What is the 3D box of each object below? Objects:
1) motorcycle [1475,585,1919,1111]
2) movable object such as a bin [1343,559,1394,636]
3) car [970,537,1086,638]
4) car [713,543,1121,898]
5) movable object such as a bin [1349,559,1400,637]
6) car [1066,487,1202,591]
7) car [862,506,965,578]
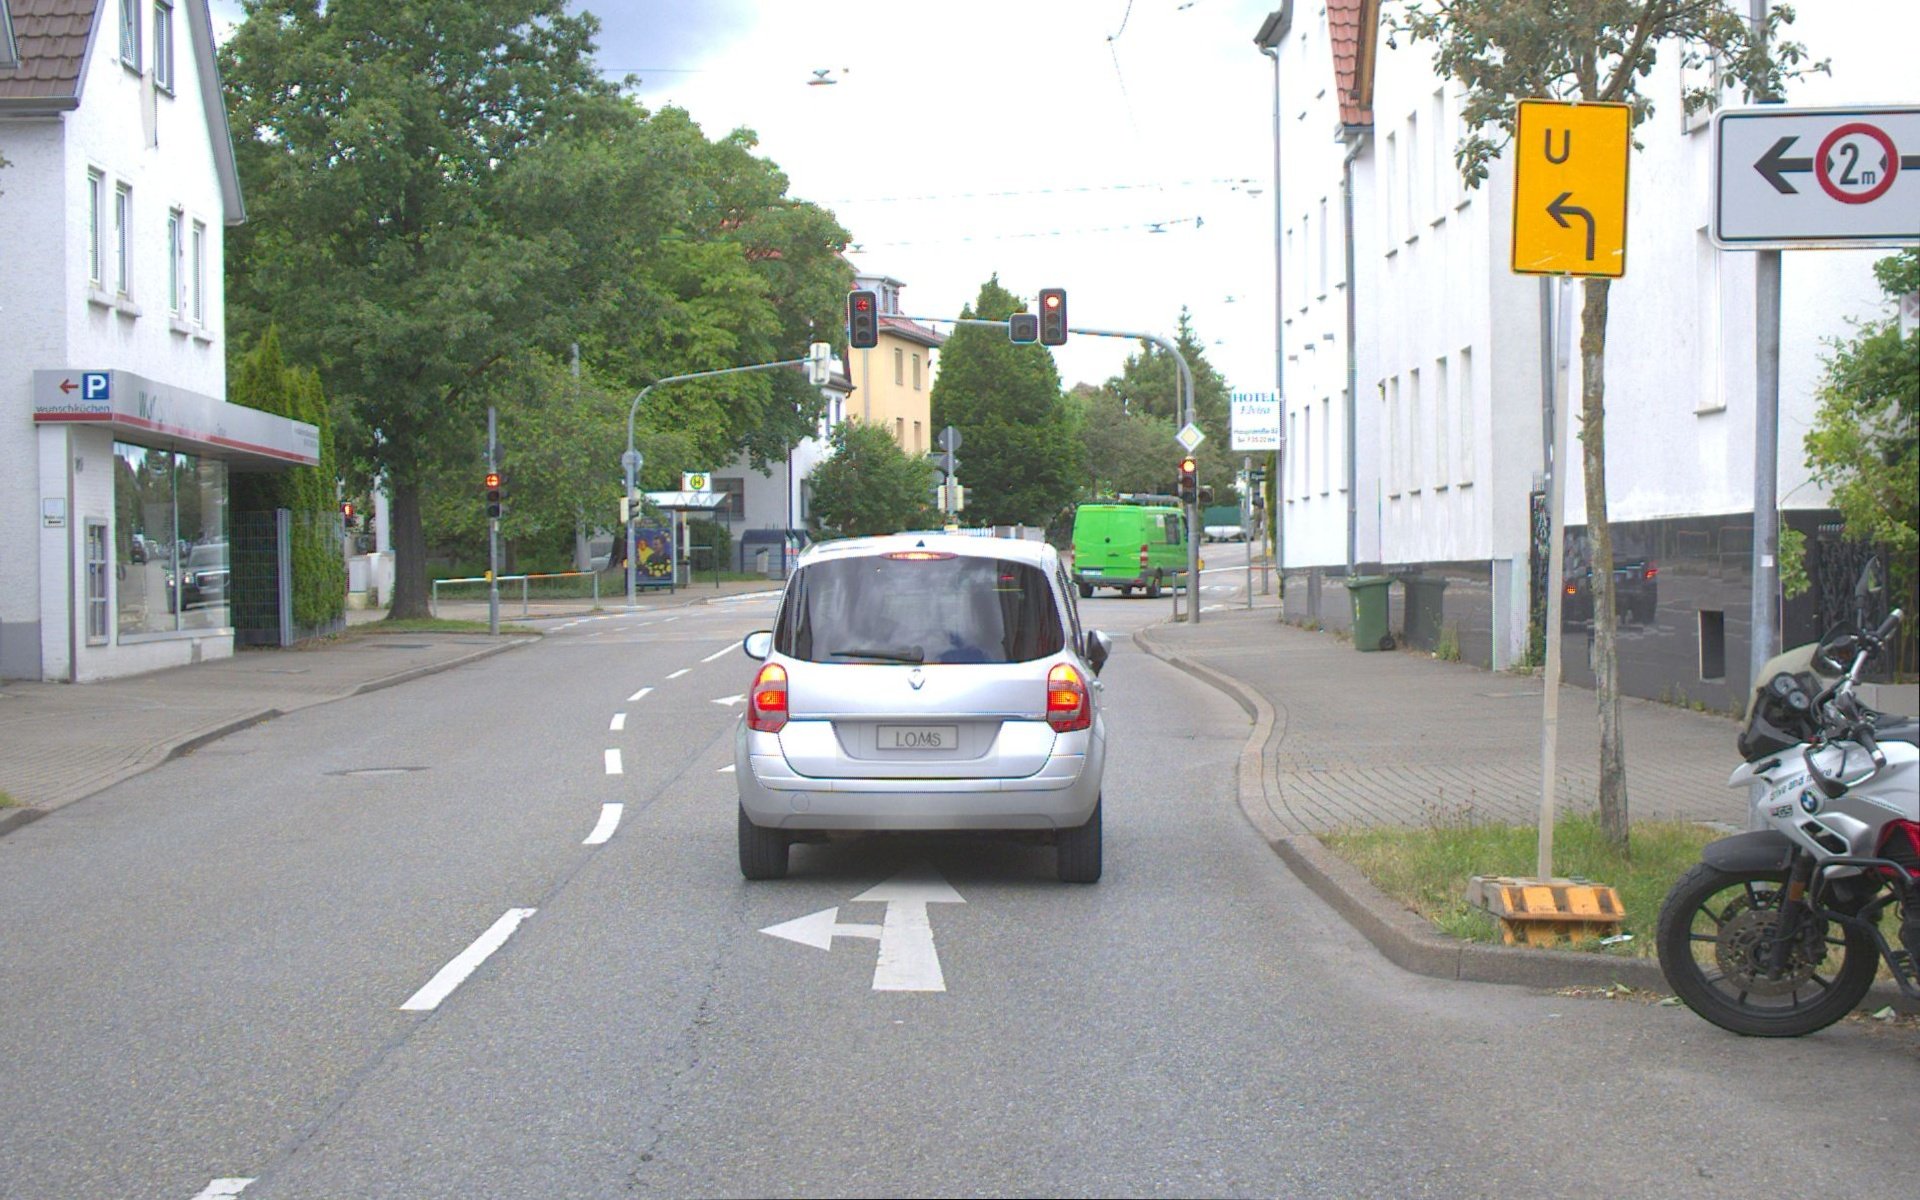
[{"bbox_3d":[2.546,0.657,9.772,0.773,1.377,2.243,-1,1,-37],"label":"motorcycle"},{"bbox_3d":[5.171,-0.034,43.551,0.540,0.938,0.487,-3,1,1],"label":"movable object such as a bin"},{"bbox_3d":[1.050,-0.221,54.219,1.755,1.525,3.797,0,1,1],"label":"car"},{"bbox_3d":[-0.167,0.491,16.865,1.755,1.525,4.000,0,1,1],"label":"car"},{"bbox_3d":[5.187,-0.025,43.014,0.540,0.938,0.487,-3,1,1],"label":"movable object such as a bin"},{"bbox_3d":[4.402,-1.521,86.106,2.061,2.503,5.591,0,1,17],"label":"car"},{"bbox_3d":[-1.251,-1.625,95.070,1.927,1.767,3.998,-5,1,11],"label":"car"}]
